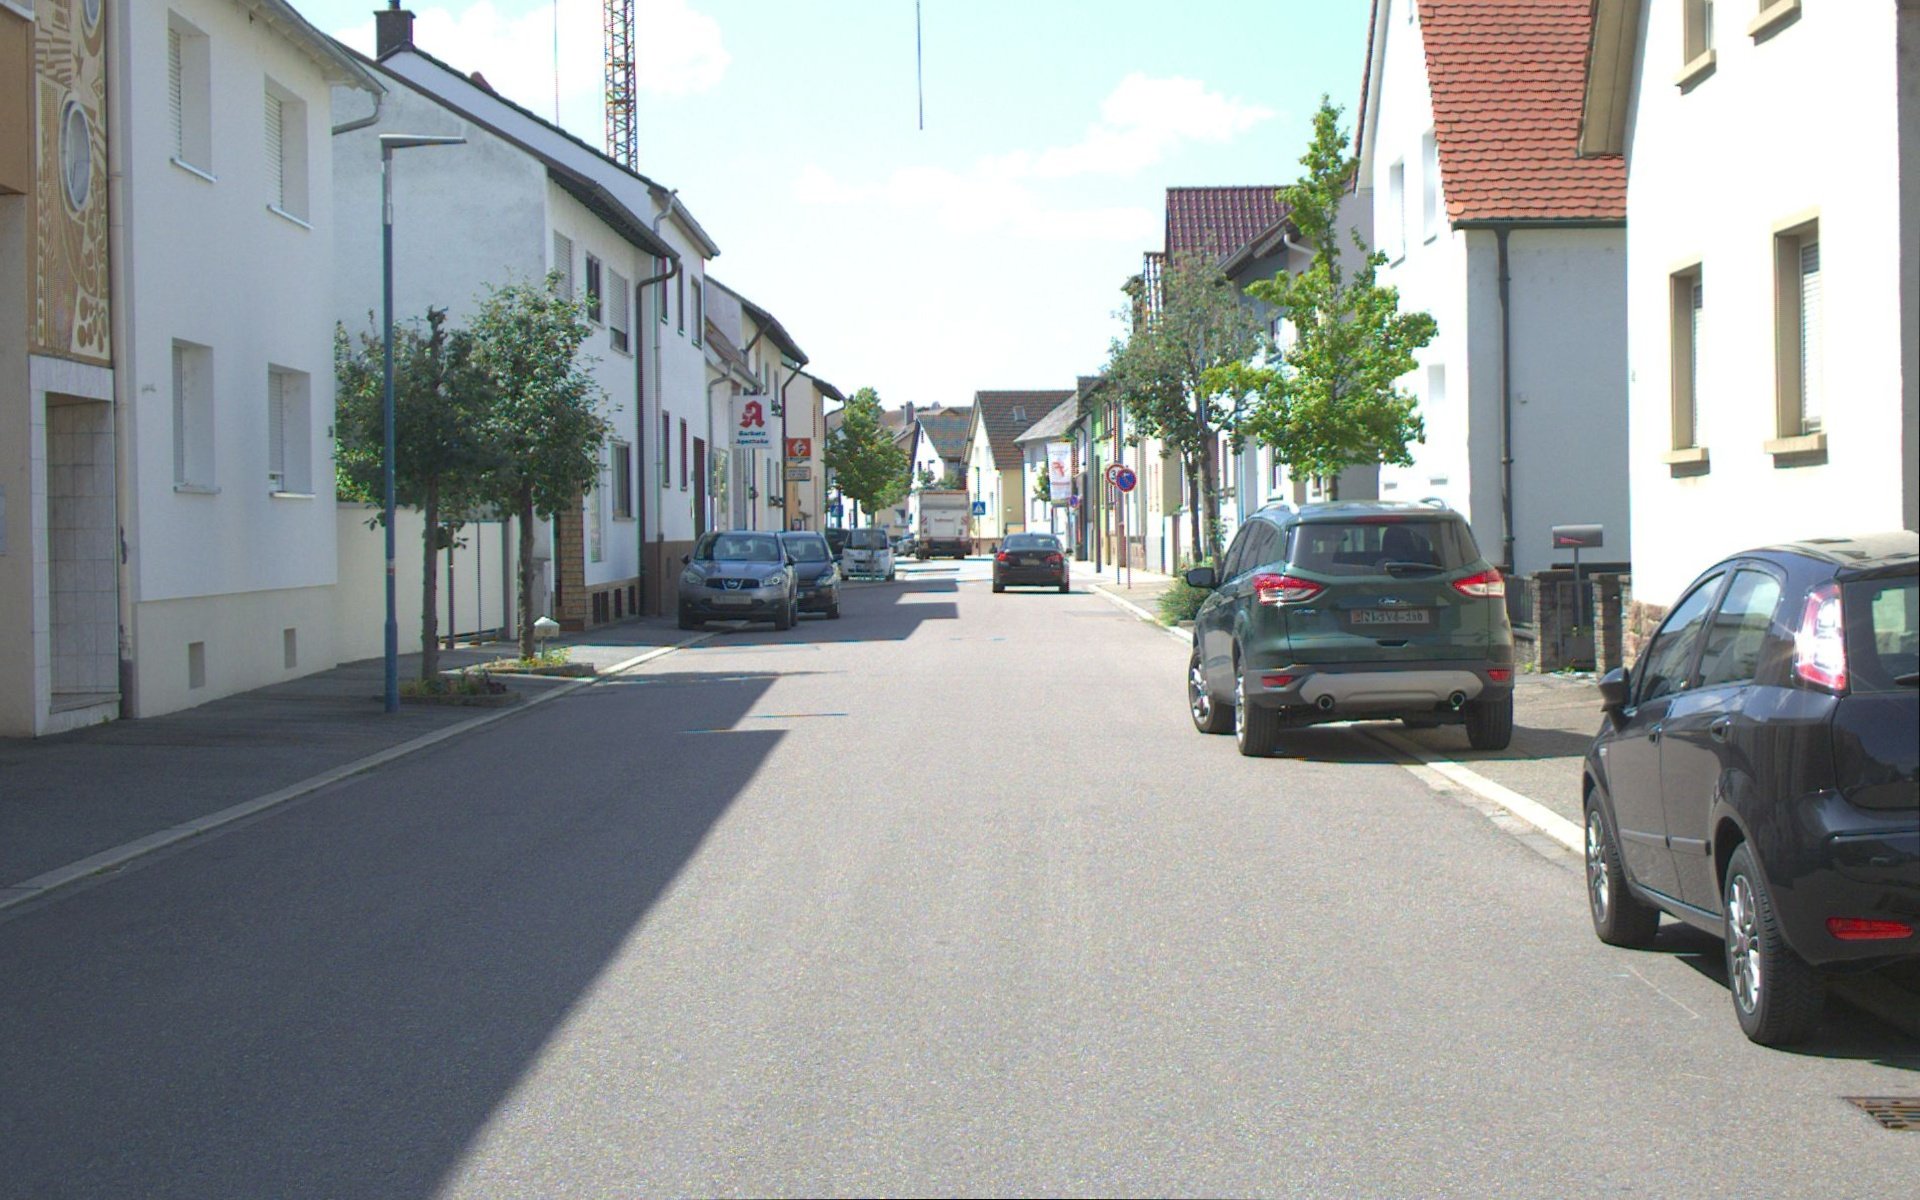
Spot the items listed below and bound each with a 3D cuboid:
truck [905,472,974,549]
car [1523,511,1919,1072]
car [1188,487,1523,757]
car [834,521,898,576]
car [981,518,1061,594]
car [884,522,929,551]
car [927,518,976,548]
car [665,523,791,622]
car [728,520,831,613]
[{"bbox_3d":[-1.151,-4.655,181.227,3.379,3.852,13.927,-2,1,-1],"label":"truck"},{"bbox_3d":[3.071,0.483,11.593,1.617,1.490,3.972,-3,1,0],"label":"car"},{"bbox_3d":[2.682,0.089,24.201,1.728,1.711,4.276,-1,1,-2],"label":"car"},{"bbox_3d":[-2.765,-1.538,101.826,1.723,1.550,4.172,1,1,1],"label":"car"},{"bbox_3d":[1.471,-1.075,83.762,1.783,1.747,4.000,-2,1,-1],"label":"car"},{"bbox_3d":[-3.435,-4.016,218.606,1.820,1.747,4.230,-2,1,-15],"label":"car"},{"bbox_3d":[-0.534,-4.057,209.200,1.782,1.747,4.230,-2,1,-16],"label":"car"},{"bbox_3d":[-3.744,-0.483,56.133,1.758,1.519,4.289,-1,1,0],"label":"car"},{"bbox_3d":[-3.267,-0.636,62.650,1.653,1.603,4.061,-1,1,0],"label":"car"}]
